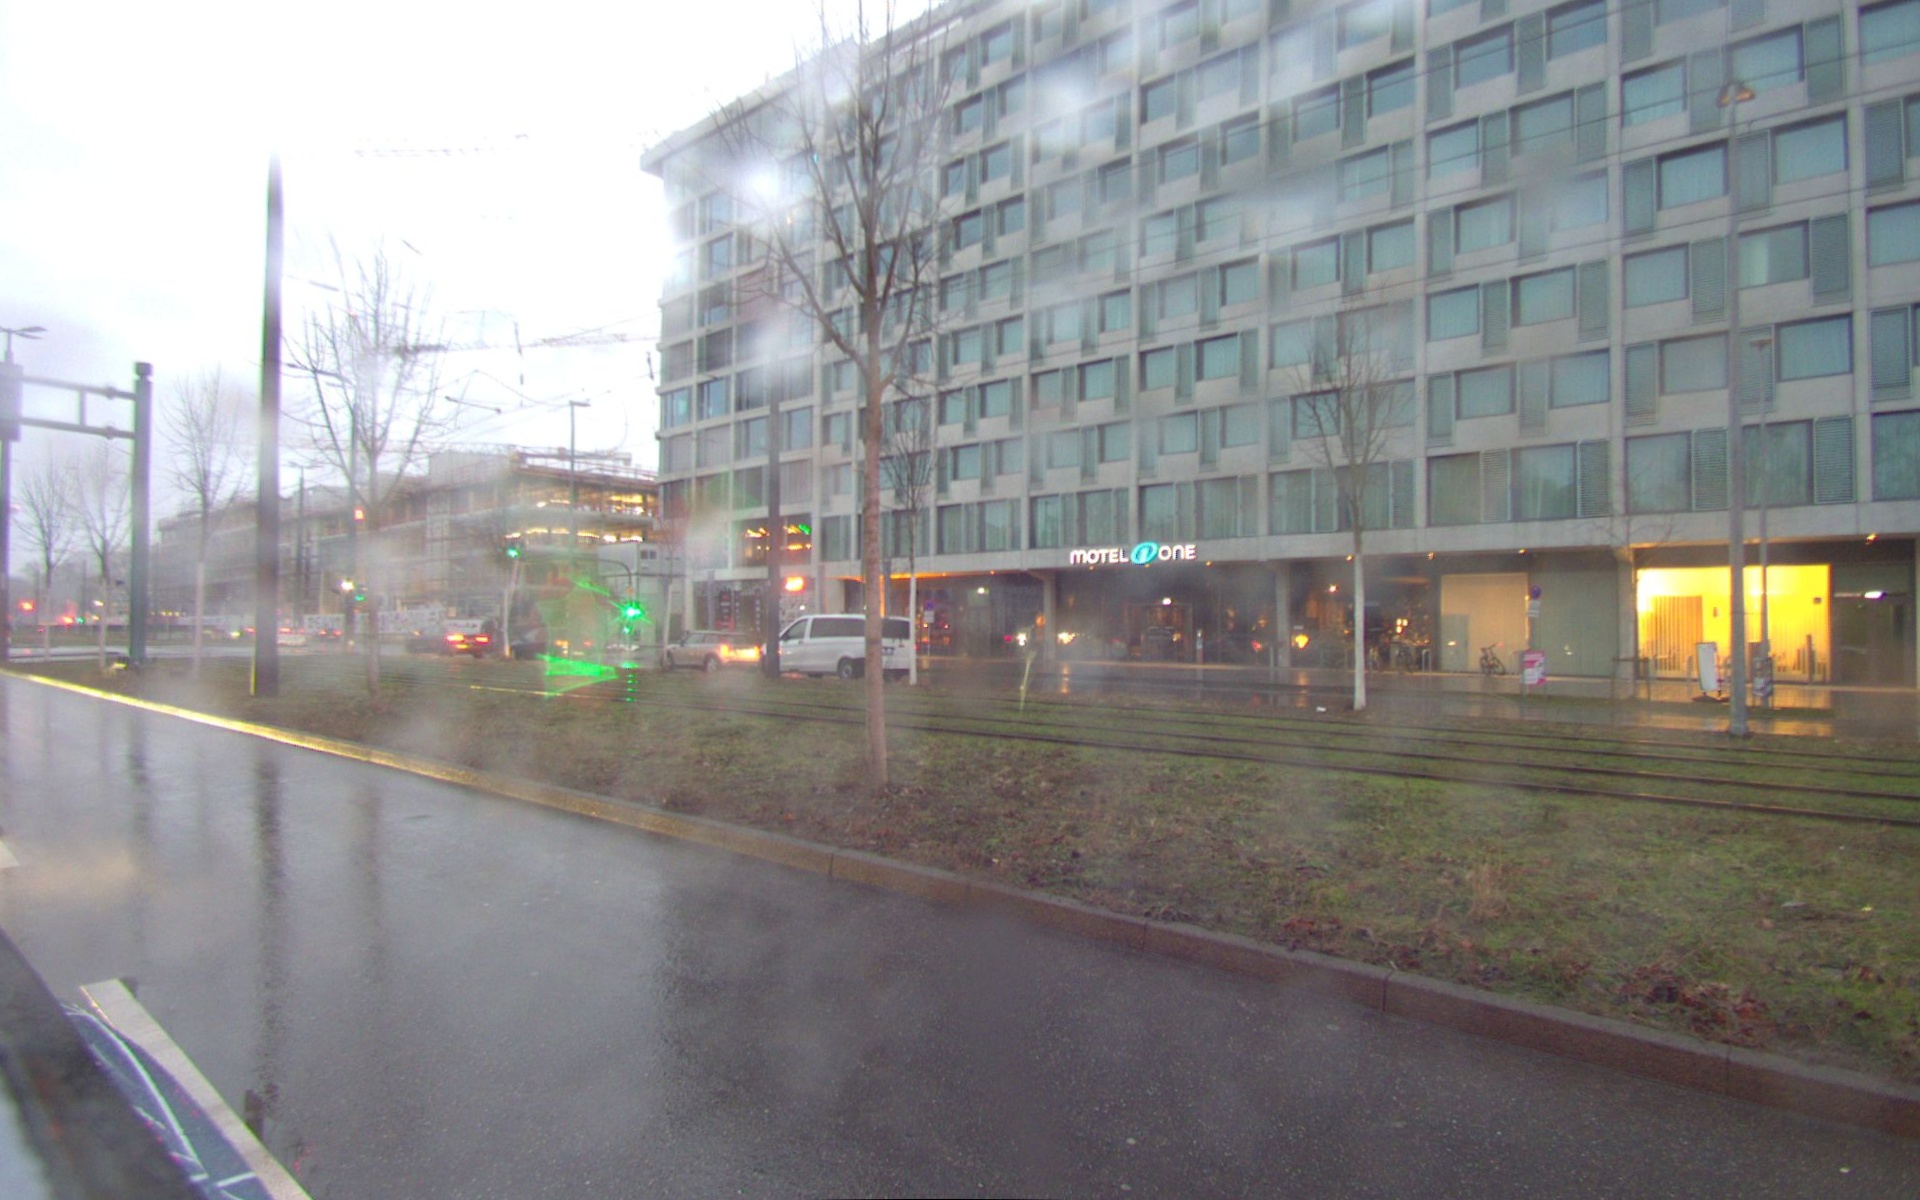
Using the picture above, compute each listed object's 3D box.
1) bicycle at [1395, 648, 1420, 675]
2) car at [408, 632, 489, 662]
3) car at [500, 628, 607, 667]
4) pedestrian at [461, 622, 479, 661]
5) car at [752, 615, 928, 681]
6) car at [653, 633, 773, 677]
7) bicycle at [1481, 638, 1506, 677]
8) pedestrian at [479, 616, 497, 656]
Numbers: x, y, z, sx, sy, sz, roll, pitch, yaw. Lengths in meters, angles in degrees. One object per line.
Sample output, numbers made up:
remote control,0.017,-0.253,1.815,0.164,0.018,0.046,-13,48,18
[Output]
bicycle,15.818,2.175,35.780,0.465,0.860,1.332,-1,0,39
car,-22.967,2.067,45.403,3.997,1.284,1.793,-1,-3,40
car,-15.763,1.806,39.171,4.254,1.411,2.084,-1,-3,40
pedestrian,-23.148,1.959,47.773,0.698,1.818,0.772,-1,0,-29
car,-3.421,1.293,28.242,5.041,1.682,2.060,-1,-3,41
car,-8.002,1.732,32.633,3.998,1.317,1.793,-1,-3,41
bicycle,18.139,1.938,34.402,0.465,1.247,1.520,-1,0,39
pedestrian,-22.419,1.701,48.051,0.698,1.818,0.772,-1,0,-32
